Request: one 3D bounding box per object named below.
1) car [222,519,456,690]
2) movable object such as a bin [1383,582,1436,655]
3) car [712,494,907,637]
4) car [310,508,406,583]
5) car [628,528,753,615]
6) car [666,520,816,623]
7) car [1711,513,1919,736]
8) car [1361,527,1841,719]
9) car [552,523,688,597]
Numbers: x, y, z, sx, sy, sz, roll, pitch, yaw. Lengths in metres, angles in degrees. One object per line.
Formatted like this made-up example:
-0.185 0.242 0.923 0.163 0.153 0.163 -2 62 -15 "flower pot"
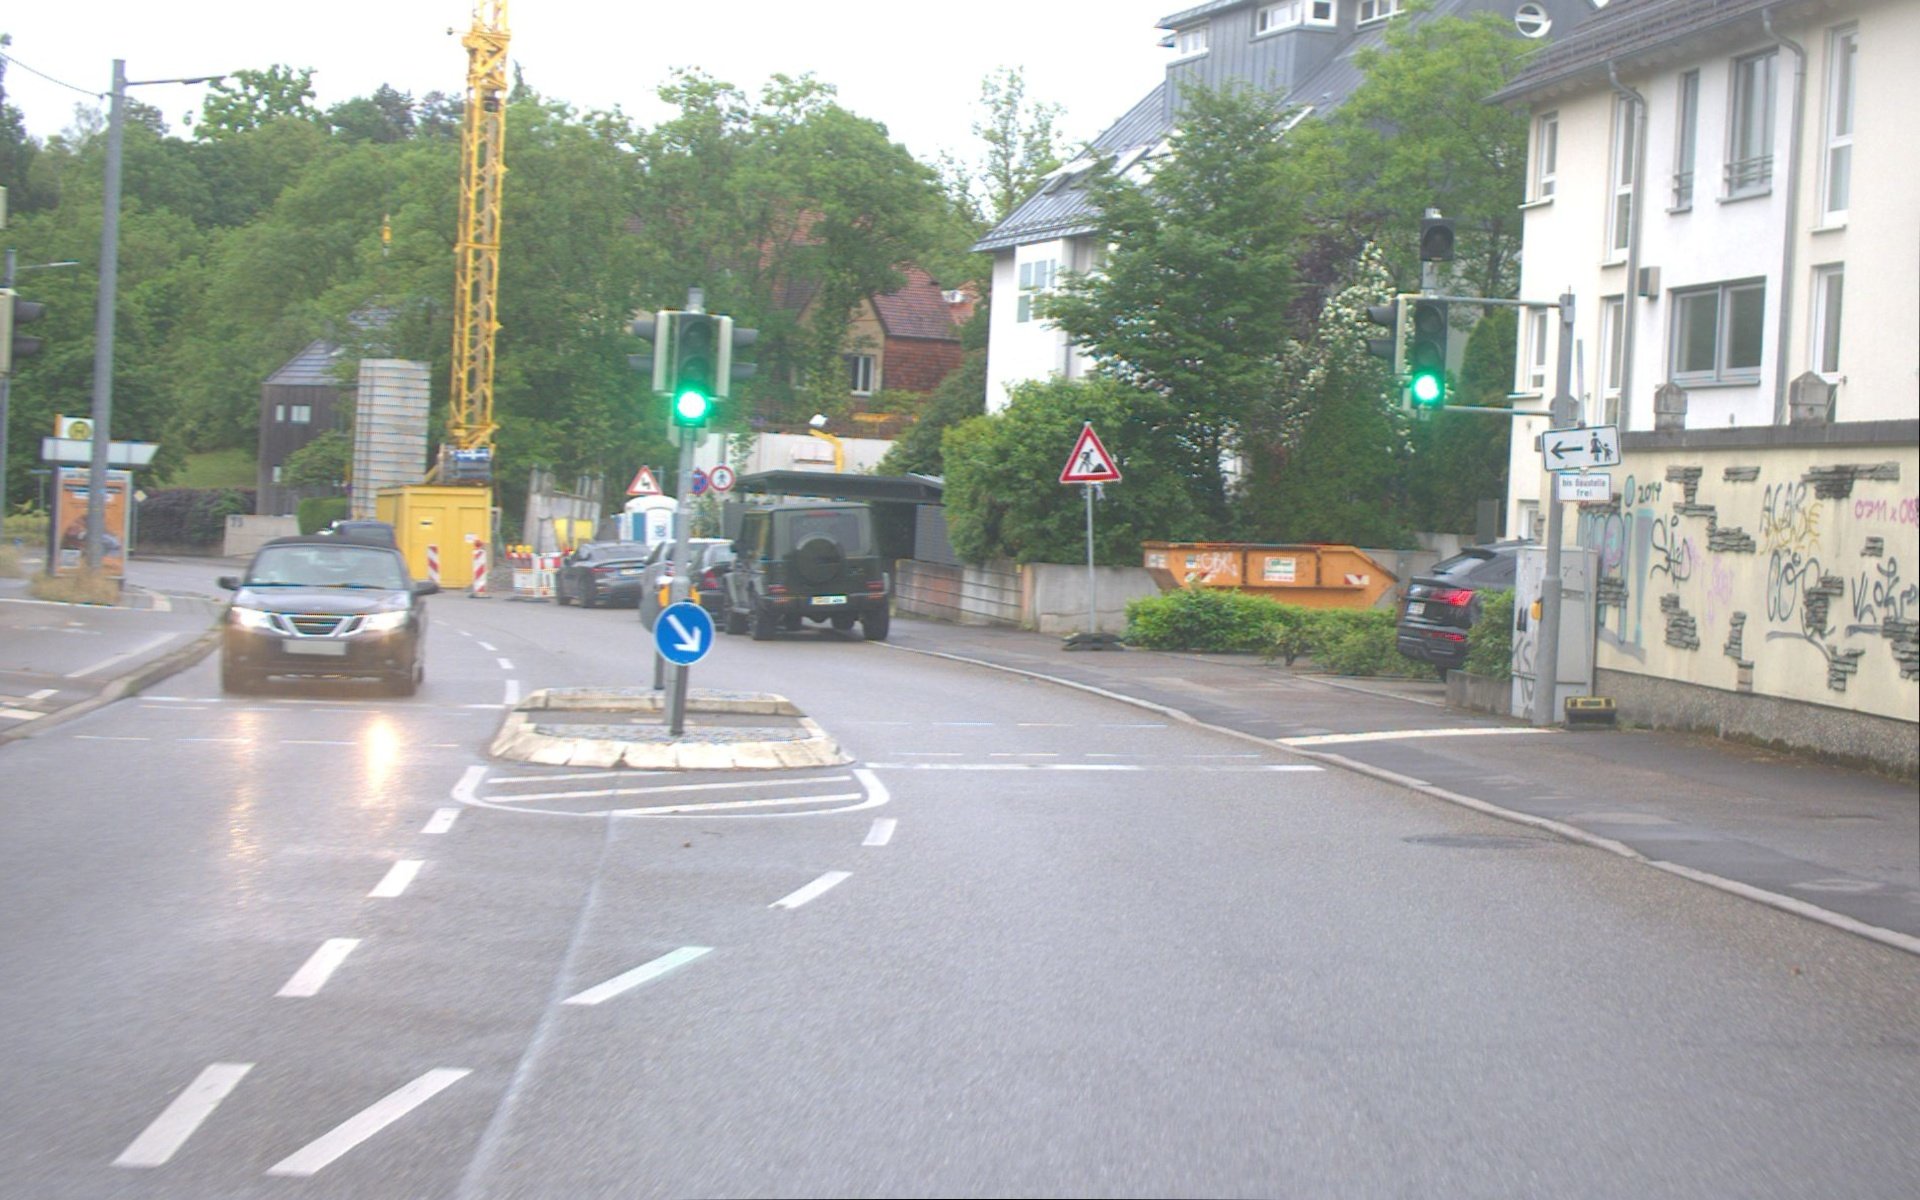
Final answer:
-5.760 0.010 32.315 1.743 1.455 4.415 1 1 -5 "car"
5.907 0.242 45.208 0.506 0.938 0.595 1 1 -12 "movable object such as a bin"
-2.301 -0.544 51.101 1.993 2.007 4.958 0 1 -13 "car"
-15.179 -1.385 86.571 1.931 1.745 4.001 2 1 -15 "car"
-4.749 -0.515 60.234 1.672 1.452 3.387 1 1 -13 "car"
-3.606 -0.487 56.013 1.931 1.590 4.396 -1 1 -10 "car"
7.544 0.224 26.075 1.931 1.590 4.343 4 0 -11 "car"
6.556 0.226 35.380 4.326 1.590 1.993 4 0 -10 "car"
-7.377 -0.883 74.205 1.931 1.417 4.839 2 1 -17 "car"
